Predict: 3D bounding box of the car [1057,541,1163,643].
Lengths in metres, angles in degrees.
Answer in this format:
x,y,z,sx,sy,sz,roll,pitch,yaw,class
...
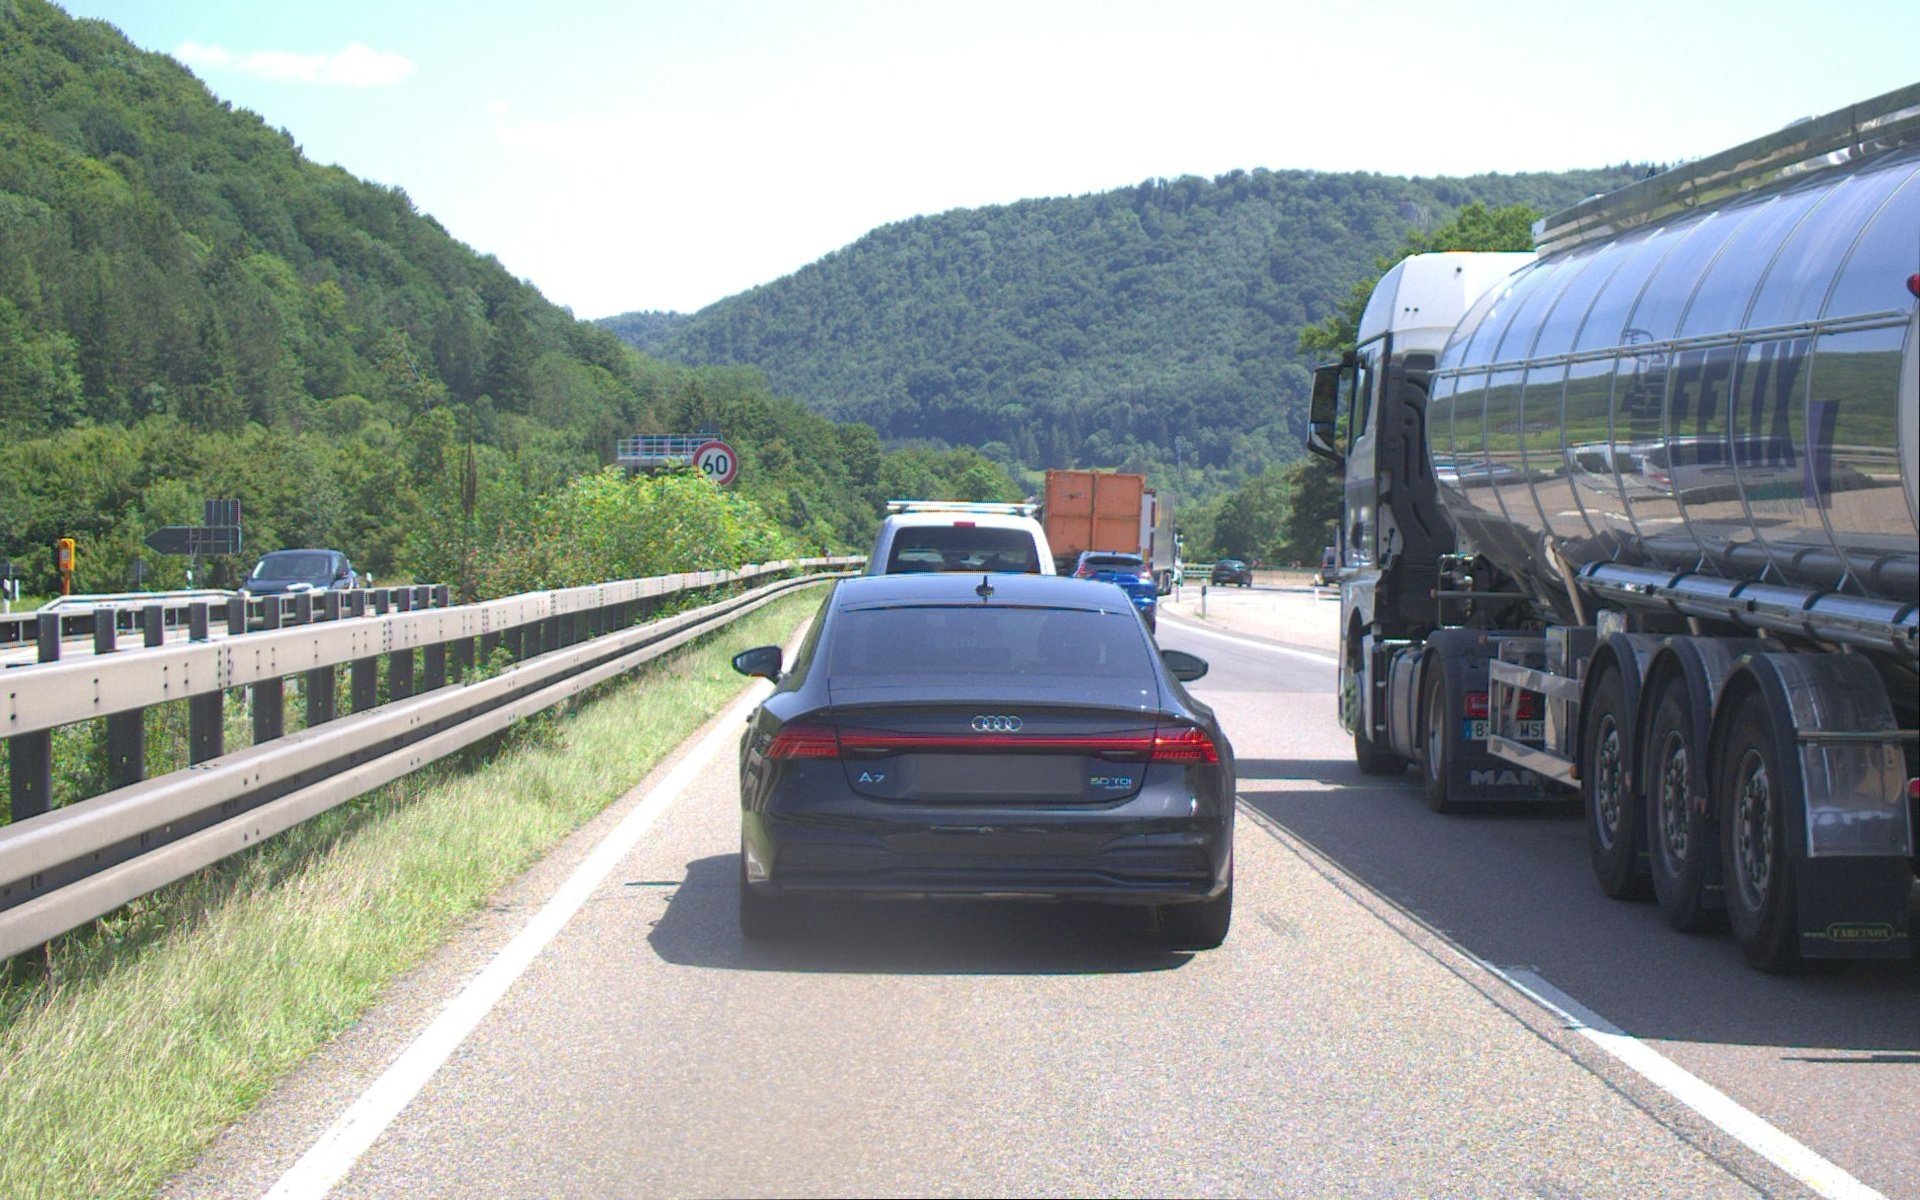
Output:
x,y,z,sx,sy,sz,roll,pitch,yaw,class
3.039,-0.191,70.227,1.993,1.996,4.000,0,1,0,car

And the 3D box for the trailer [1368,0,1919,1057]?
x,y,z,sx,sy,sz,roll,pitch,yaw,class
4.039,-0.577,16.072,2.538,3.722,11.893,0,1,-1,trailer

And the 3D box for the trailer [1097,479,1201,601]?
x,y,z,sx,sy,sz,roll,pitch,yaw,class
7.012,-2.254,128.870,3.015,4.367,10.987,0,1,-1,trailer

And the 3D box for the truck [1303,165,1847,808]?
x,y,z,sx,sy,sz,roll,pitch,yaw,class
3.867,-0.707,22.774,2.511,3.745,5.246,0,1,-1,truck

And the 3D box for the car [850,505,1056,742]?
x,y,z,sx,sy,sz,roll,pitch,yaw,class
-0.087,0.148,28.580,1.575,1.827,4.000,0,1,-1,car

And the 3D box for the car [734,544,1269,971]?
x,y,z,sx,sy,sz,roll,pitch,yaw,class
0.016,0.525,14.114,1.849,1.483,4.084,0,1,-4,car

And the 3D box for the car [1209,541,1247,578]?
x,y,z,sx,sy,sz,roll,pitch,yaw,class
14.988,-2.272,192.172,1.994,2.007,3.999,0,1,7,car

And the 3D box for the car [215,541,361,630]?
x,y,z,sx,sy,sz,roll,pitch,yaw,class
-12.656,-0.302,64.985,1.922,1.615,4.561,0,1,-1,car

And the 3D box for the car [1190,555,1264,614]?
x,y,z,sx,sy,sz,roll,pitch,yaw,class
7.089,-0.426,91.585,1.747,1.525,4.000,0,1,1,car

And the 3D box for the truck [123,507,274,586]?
x,y,z,sx,sy,sz,roll,pitch,yaw,class
-26.781,-1.876,121.345,3.581,2.686,8.449,0,1,-1,truck

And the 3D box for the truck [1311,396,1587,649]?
x,y,z,sx,sy,sz,roll,pitch,yaw,class
8.503,-1.358,61.924,2.817,3.989,14.956,0,1,0,truck

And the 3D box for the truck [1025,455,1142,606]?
x,y,z,sx,sy,sz,roll,pitch,yaw,class
3.439,-1.982,99.113,2.817,3.989,14.956,0,1,0,truck

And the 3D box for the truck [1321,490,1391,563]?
x,y,z,sx,sy,sz,roll,pitch,yaw,class
24.864,-4.560,215.450,3.795,4.399,14.950,1,1,9,truck
